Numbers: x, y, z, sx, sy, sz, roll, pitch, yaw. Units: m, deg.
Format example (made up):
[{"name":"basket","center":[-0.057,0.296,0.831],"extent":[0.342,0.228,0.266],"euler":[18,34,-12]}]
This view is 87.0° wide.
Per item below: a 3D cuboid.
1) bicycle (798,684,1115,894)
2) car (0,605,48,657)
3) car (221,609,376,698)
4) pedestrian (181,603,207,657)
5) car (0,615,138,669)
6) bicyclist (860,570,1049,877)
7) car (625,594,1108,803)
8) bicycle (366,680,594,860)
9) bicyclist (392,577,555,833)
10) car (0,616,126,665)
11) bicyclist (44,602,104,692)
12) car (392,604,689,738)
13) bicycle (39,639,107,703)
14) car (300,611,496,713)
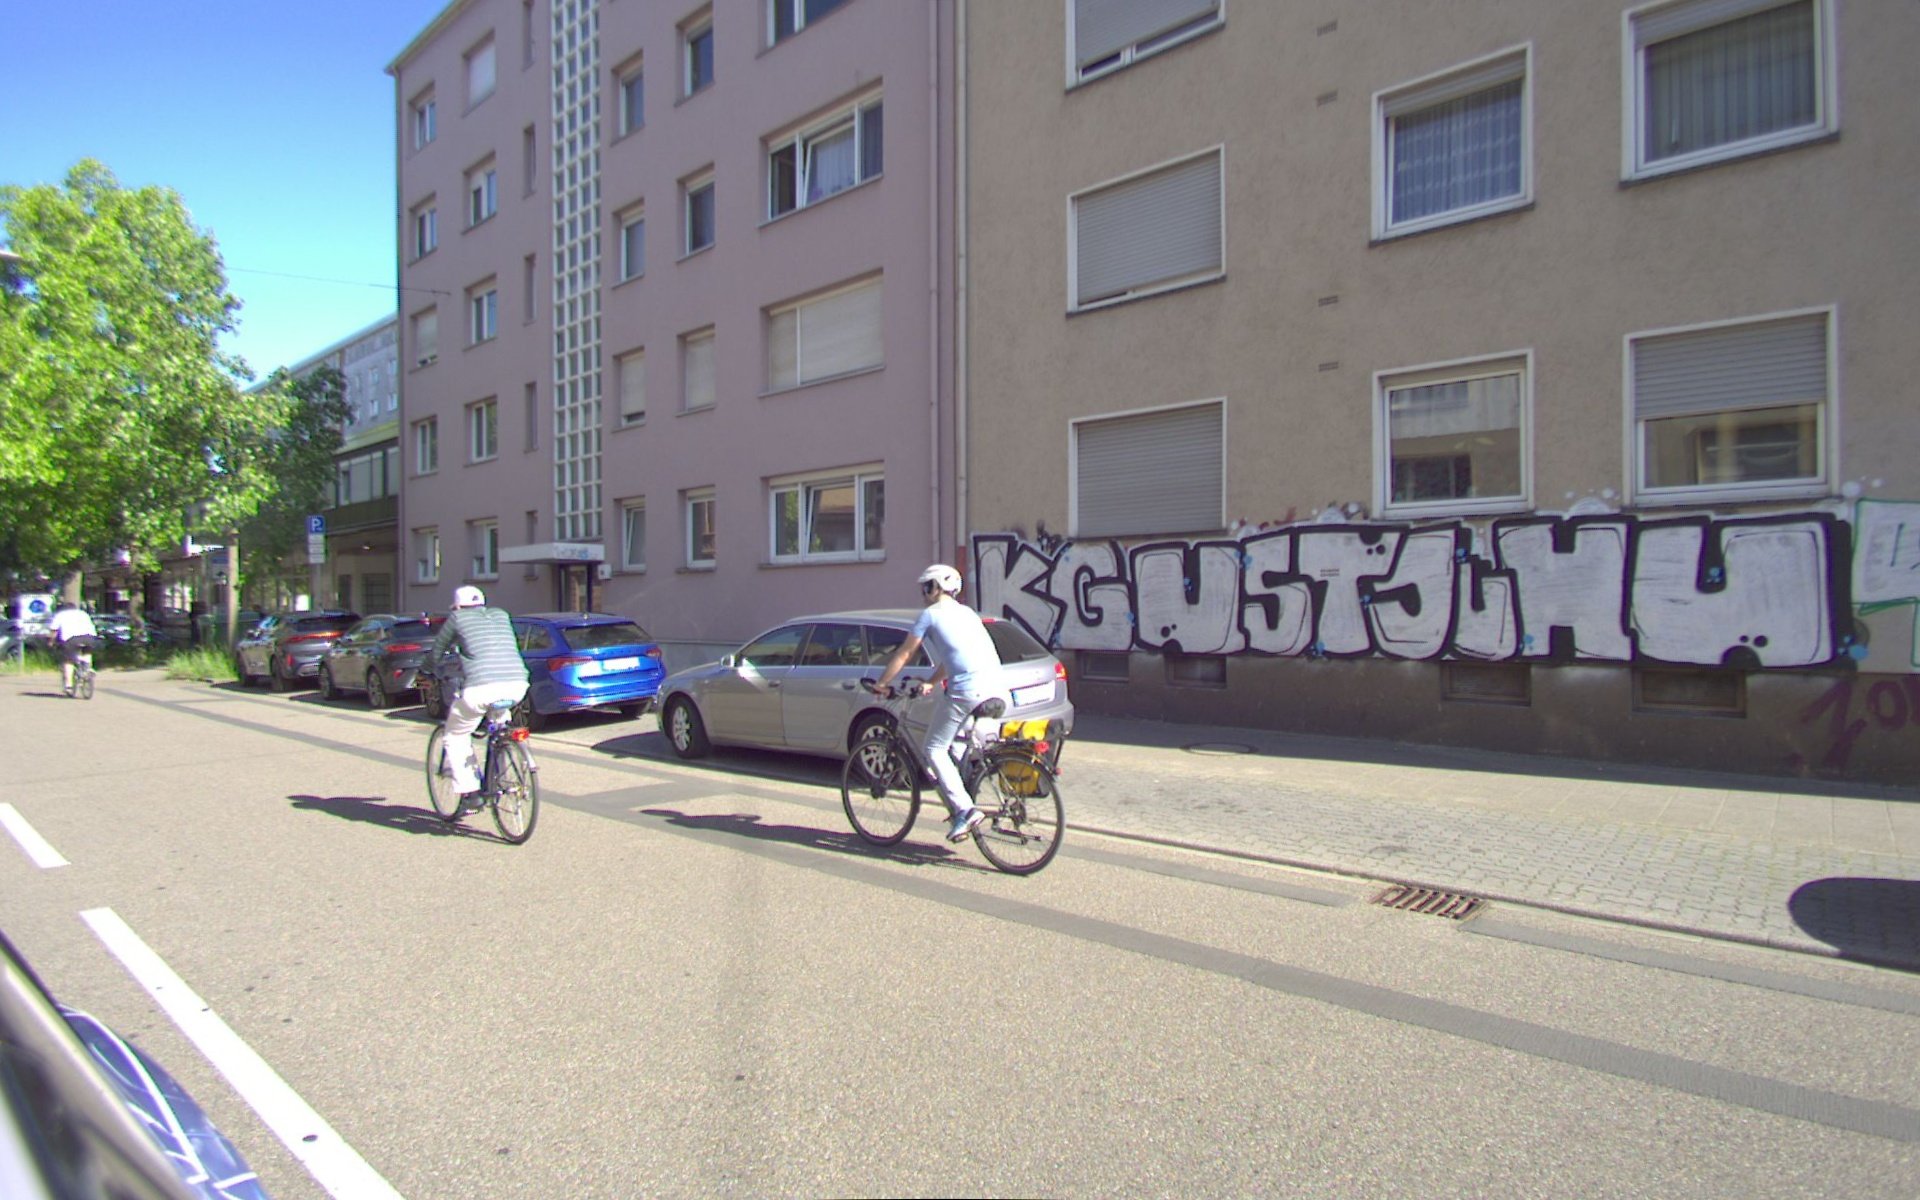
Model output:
[{"name":"bicycle","center":[-0.080,1.029,6.021],"extent":[1.933,0.959,0.672],"euler":[-1,-2,41]},{"name":"car","center":[-39.560,1.269,40.962],"extent":[1.913,2.058,3.824],"euler":[-1,-1,43]},{"name":"car","center":[-13.822,1.036,21.059],"extent":[4.157,1.588,1.704],"euler":[-1,1,43]},{"name":"pedestrian","center":[-26.304,1.010,34.740],"extent":[0.502,1.820,0.615],"euler":[-1,-1,42]},{"name":"car","center":[-28.644,1.289,31.996],"extent":[1.913,1.564,3.943],"euler":[-1,-1,43]},{"name":"bicyclist","center":[-0.033,0.678,6.000],"extent":[0.898,1.643,0.672],"euler":[-1,-3,41]},{"name":"car","center":[-1.109,0.773,9.852],"extent":[4.797,1.514,1.805],"euler":[-1,1,40]},{"name":"bicycle","center":[-3.282,1.065,6.829],"extent":[1.933,0.959,0.672],"euler":[-1,-2,41]},{"name":"bicyclist","center":[-3.294,0.667,6.850],"extent":[0.898,1.588,0.672],"euler":[-1,-3,41]},{"name":"car","center":[-31.115,1.350,34.493],"extent":[1.913,1.564,3.943],"euler":[-1,-1,43]},{"name":"bicyclist","center":[-16.520,0.857,18.862],"extent":[0.946,1.632,0.709],"euler":[-1,-1,41]},{"name":"car","center":[-6.016,0.885,14.207],"extent":[4.797,1.514,1.805],"euler":[-1,1,40]},{"name":"bicycle","center":[-16.537,1.295,18.860],"extent":[1.871,1.072,0.709],"euler":[-1,-1,41]},{"name":"car","center":[-9.780,0.984,17.486],"extent":[4.157,1.478,1.704],"euler":[-1,1,43]}]
